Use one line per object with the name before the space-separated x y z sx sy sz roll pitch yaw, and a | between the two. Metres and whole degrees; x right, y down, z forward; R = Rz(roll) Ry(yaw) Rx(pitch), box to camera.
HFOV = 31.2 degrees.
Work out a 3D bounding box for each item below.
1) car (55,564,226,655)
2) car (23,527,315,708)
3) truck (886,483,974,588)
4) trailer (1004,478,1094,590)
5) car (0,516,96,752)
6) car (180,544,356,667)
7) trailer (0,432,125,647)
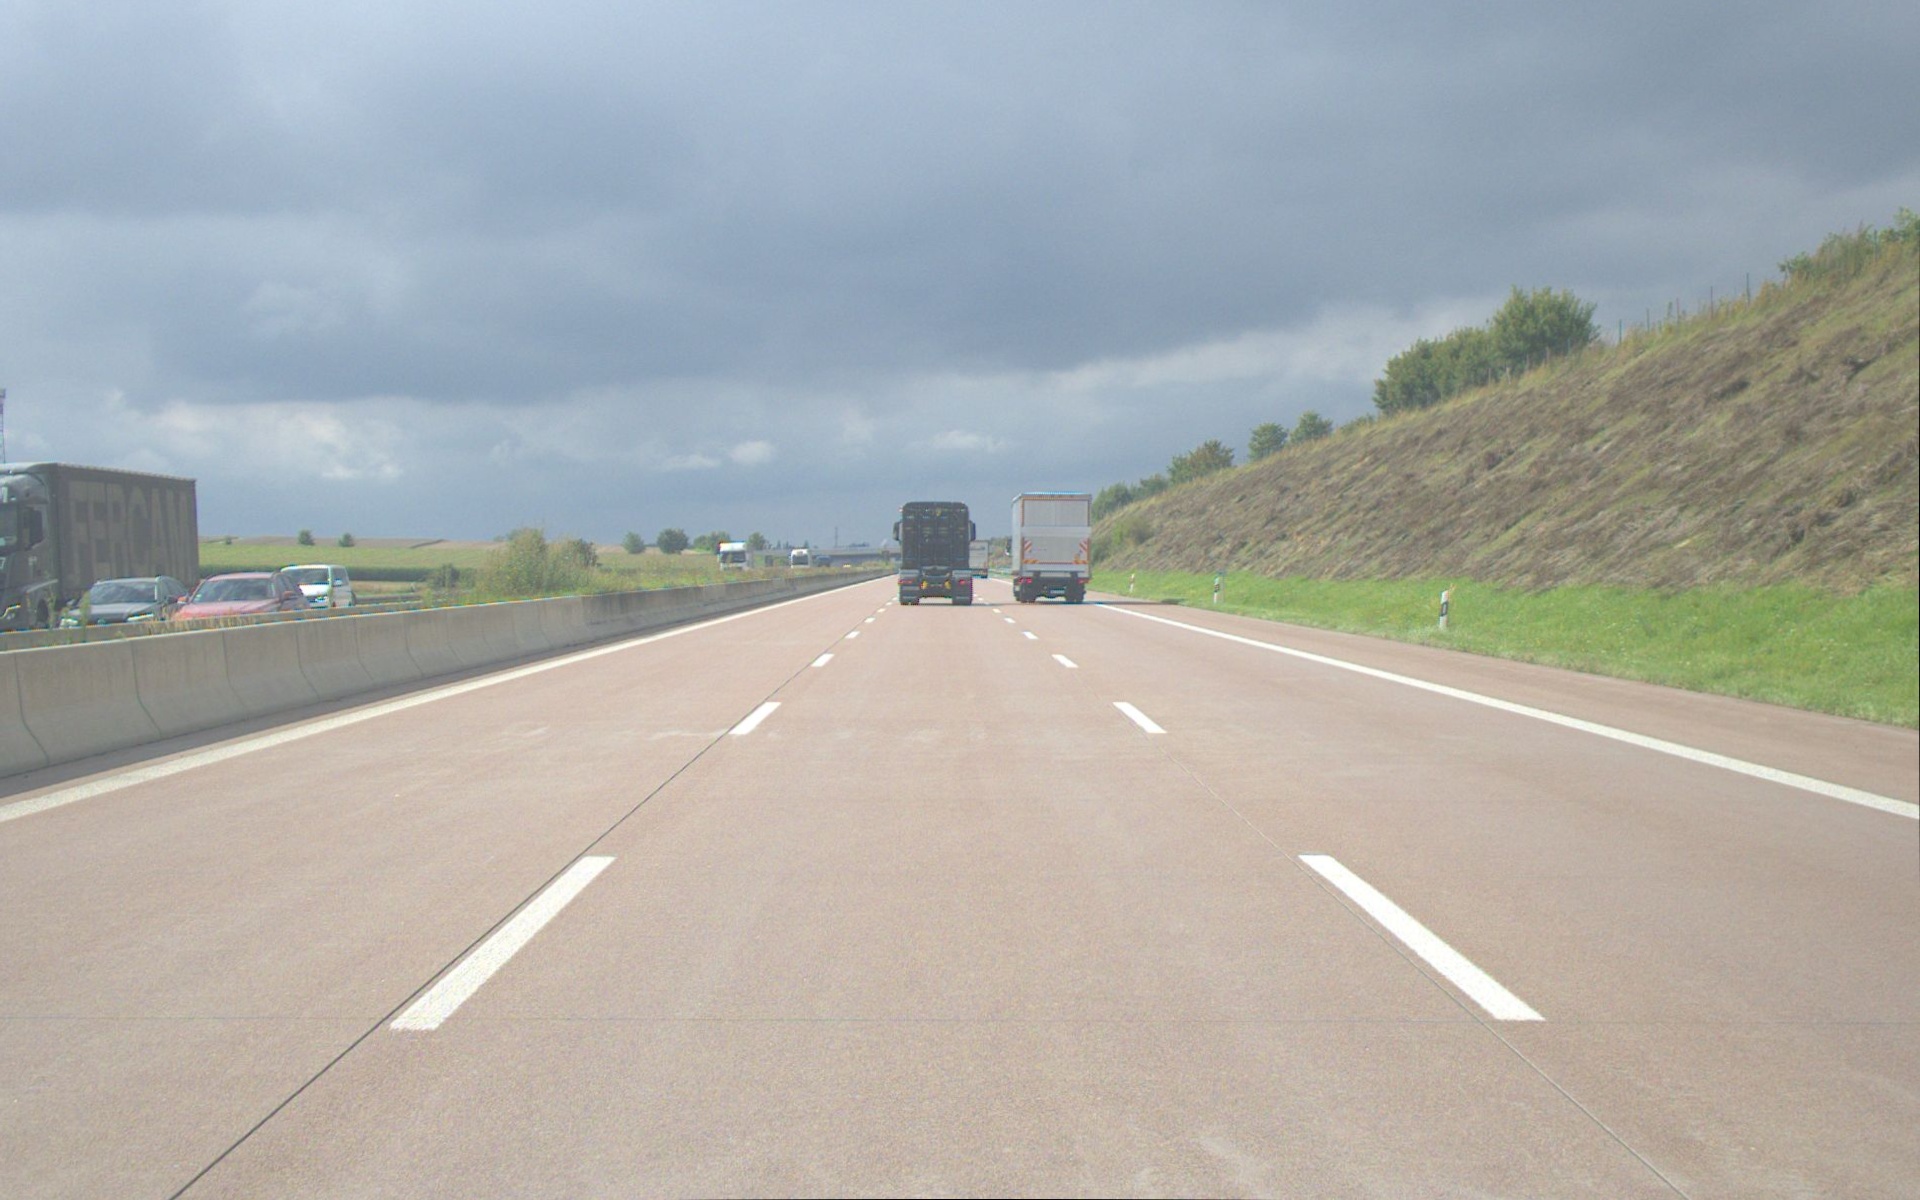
car | -15.368 0.142 64.738 1.993 1.569 5.218 1 1 -1
car | -7.756 0.124 34.095 1.972 1.656 4.082 1 1 -1
truck | -1.093 -2.217 120.707 2.847 3.537 8.320 0 0 -2
trailer | 3.229 -2.391 127.006 2.747 3.998 8.671 0 0 -2
car | -7.700 0.214 24.722 1.884 1.656 4.434 1 1 -1
car | -11.777 0.055 58.824 1.993 1.975 5.218 1 1 -1
trailer | -19.749 -1.276 71.499 3.007 4.233 7.009 1 1 0
